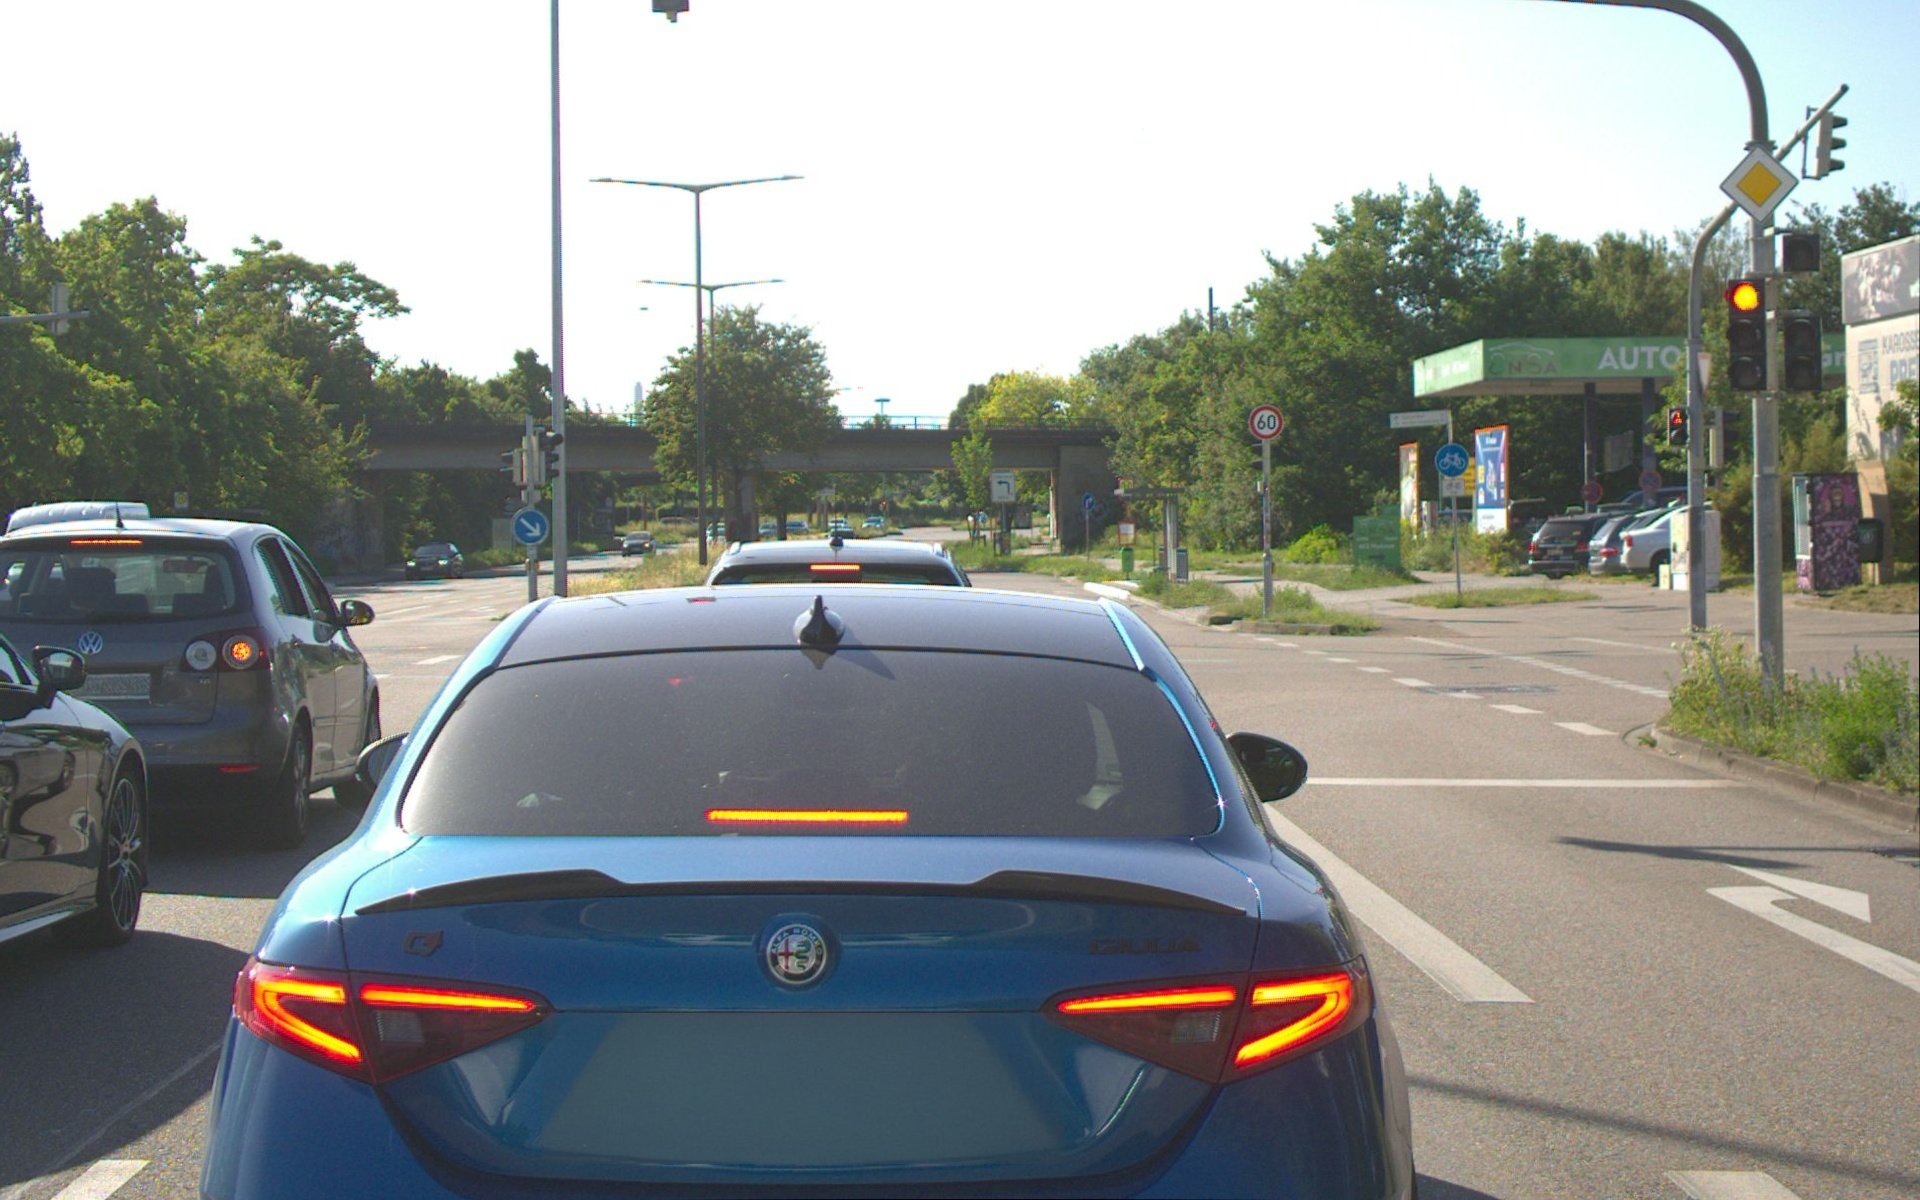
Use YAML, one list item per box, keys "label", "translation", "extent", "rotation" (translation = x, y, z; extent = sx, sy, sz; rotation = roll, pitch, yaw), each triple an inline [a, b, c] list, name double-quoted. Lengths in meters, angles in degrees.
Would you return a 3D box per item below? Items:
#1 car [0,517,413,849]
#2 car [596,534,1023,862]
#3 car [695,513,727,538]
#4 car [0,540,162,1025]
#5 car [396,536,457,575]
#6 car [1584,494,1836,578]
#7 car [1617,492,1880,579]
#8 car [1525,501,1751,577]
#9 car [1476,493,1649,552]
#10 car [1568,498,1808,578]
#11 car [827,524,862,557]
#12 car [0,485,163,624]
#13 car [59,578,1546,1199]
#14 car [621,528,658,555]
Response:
- label: "car"
  translation: [-3.997, 0.351, 17.720]
  extent: [1.759, 1.485, 4.403]
  rotation: [1, 1, -2]
- label: "car"
  translation: [-0.721, 0.409, 17.244]
  extent: [1.850, 1.413, 4.403]
  rotation: [1, 1, -2]
- label: "car"
  translation: [-16.172, -4.841, 223.542]
  extent: [1.759, 1.485, 3.837]
  rotation: [-2, 1, 0]
- label: "car"
  translation: [-3.832, 0.545, 10.621]
  extent: [1.796, 1.485, 4.476]
  rotation: [1, 1, -2]
- label: "car"
  translation: [-21.709, -1.827, 140.096]
  extent: [1.759, 1.485, 4.478]
  rotation: [-2, 1, 0]
- label: "car"
  translation: [14.655, -1.246, 67.353]
  extent: [4.489, 1.449, 1.858]
  rotation: [-2, 1, 1]
- label: "car"
  translation: [14.771, -1.208, 64.574]
  extent: [4.489, 1.449, 1.858]
  rotation: [-2, 1, 1]
- label: "car"
  translation: [14.591, -1.311, 74.157]
  extent: [4.489, 1.449, 1.858]
  rotation: [-2, 1, 1]
- label: "car"
  translation: [17.039, -2.193, 97.321]
  extent: [4.551, 1.485, 1.765]
  rotation: [-2, 1, 1]
- label: "car"
  translation: [14.811, -1.263, 70.107]
  extent: [4.489, 1.449, 1.858]
  rotation: [-2, 1, 1]
- label: "car"
  translation: [-6.528, -3.349, 194.618]
  extent: [1.891, 1.809, 4.000]
  rotation: [1, 1, -1]
- label: "car"
  translation: [-16.865, -0.857, 65.369]
  extent: [2.022, 2.439, 5.822]
  rotation: [-4, 1, -1]
- label: "car"
  translation: [-0.265, 0.685, 6.611]
  extent: [1.895, 1.413, 4.403]
  rotation: [1, 1, -2]
- label: "car"
  translation: [-19.095, -3.478, 205.108]
  extent: [1.759, 1.485, 4.478]
  rotation: [-2, 1, 0]
